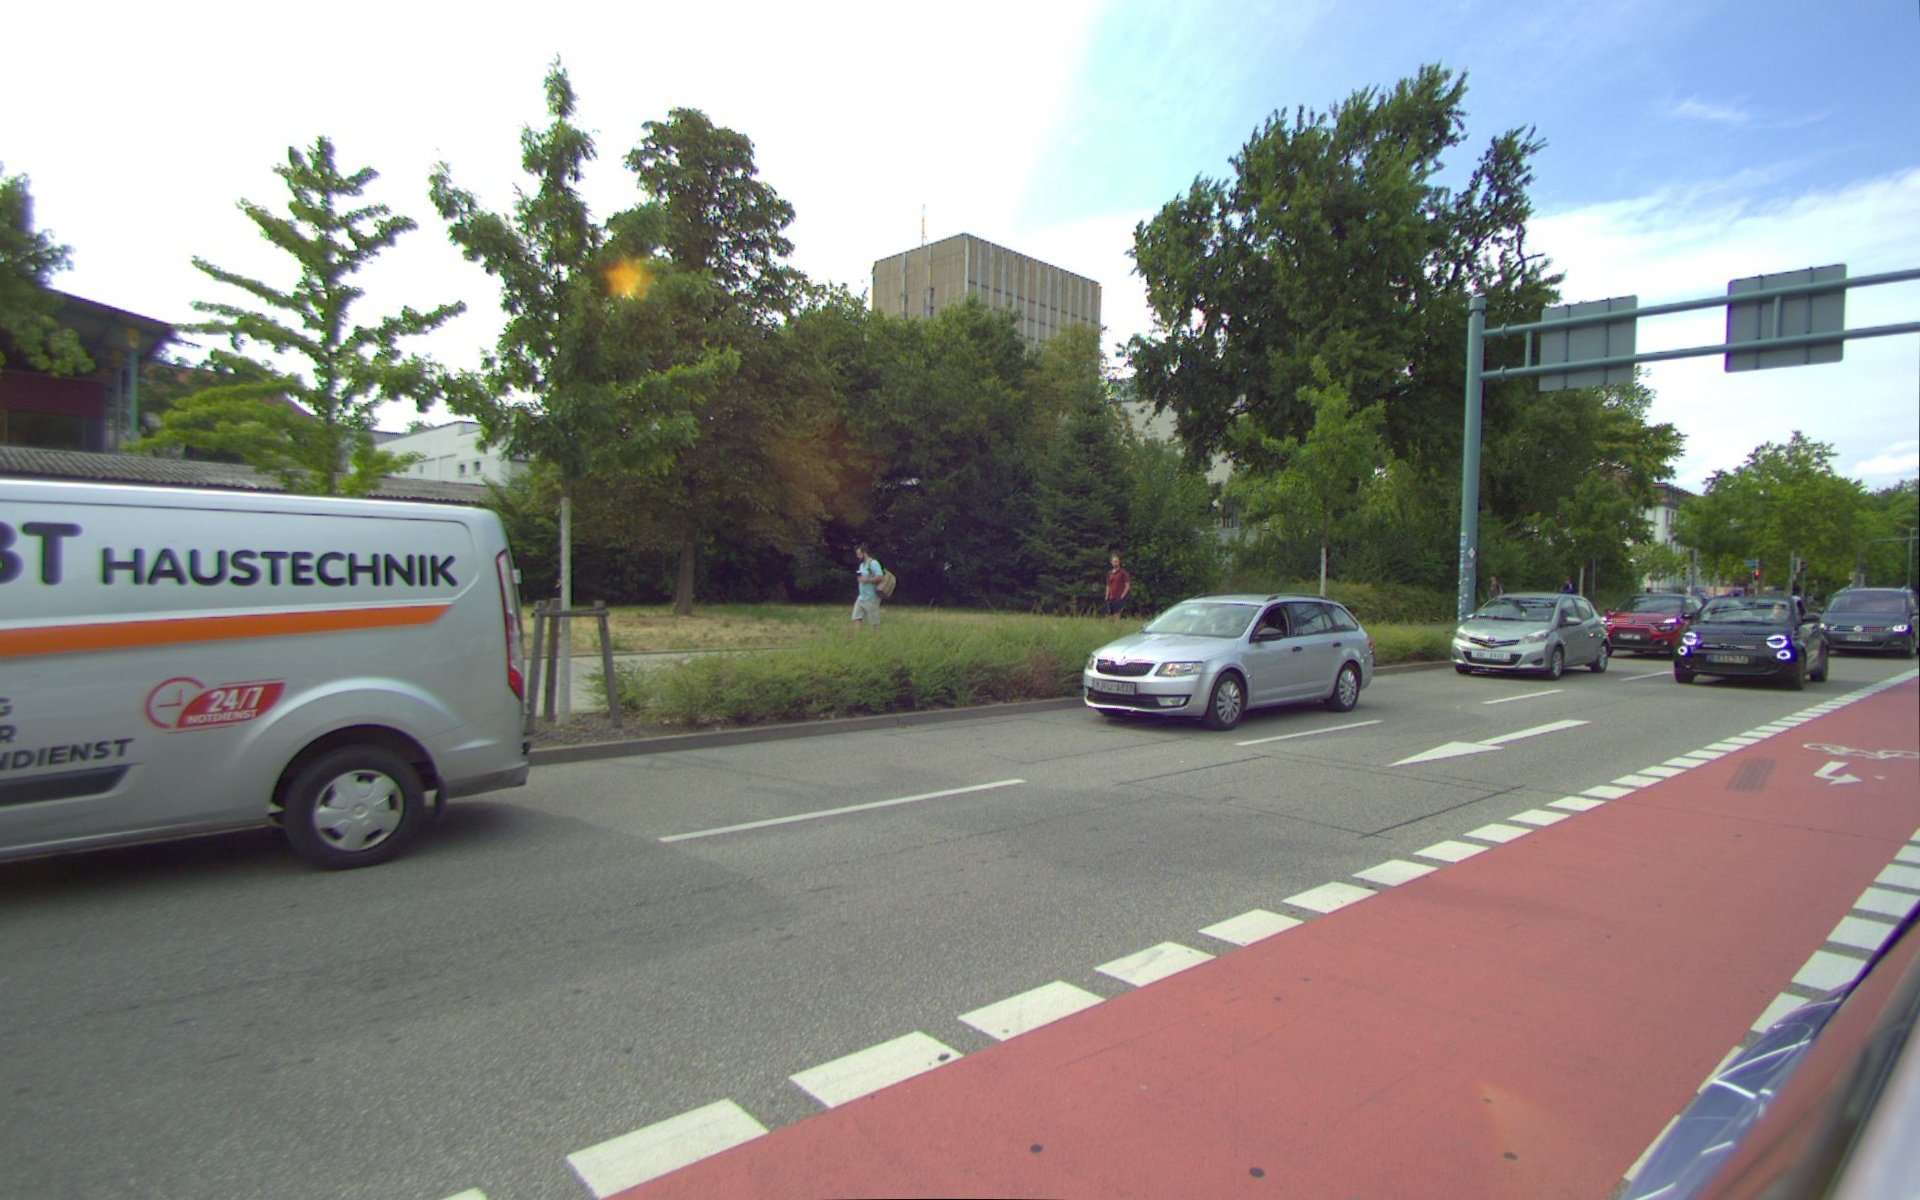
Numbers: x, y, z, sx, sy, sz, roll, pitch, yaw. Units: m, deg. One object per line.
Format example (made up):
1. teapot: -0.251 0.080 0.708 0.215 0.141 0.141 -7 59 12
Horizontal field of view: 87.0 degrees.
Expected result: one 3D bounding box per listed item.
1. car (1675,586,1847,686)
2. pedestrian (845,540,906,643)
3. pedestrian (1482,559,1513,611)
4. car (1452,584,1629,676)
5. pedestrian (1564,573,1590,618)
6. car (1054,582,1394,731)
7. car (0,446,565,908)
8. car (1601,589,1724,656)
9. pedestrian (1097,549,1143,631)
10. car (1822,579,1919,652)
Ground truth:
1. car: 13.506 0.517 17.008 3.381 1.508 1.669 -1 1 -41
2. pedestrian: -1.458 -0.148 17.426 0.683 1.732 0.840 0 0 -44
3. pedestrian: 18.174 -0.510 34.200 0.683 1.732 0.713 0 0 -41
4. car: 10.696 0.474 18.559 3.808 1.508 1.669 -1 0 -41
5. pedestrian: 24.165 -0.191 39.632 0.683 1.732 0.713 0 0 -41
6. car: 3.337 0.538 12.309 4.449 1.493 1.822 -1 0 -41
7. car: -4.833 0.330 4.943 5.114 1.984 1.822 -1 0 -41
8. car: 16.514 0.475 23.738 3.399 1.433 1.668 -1 0 -43
9. pedestrian: 3.484 -0.218 22.037 0.683 1.732 0.713 0 0 -41
10. car: 23.156 0.334 25.309 4.604 1.671 1.758 -1 0 -41
